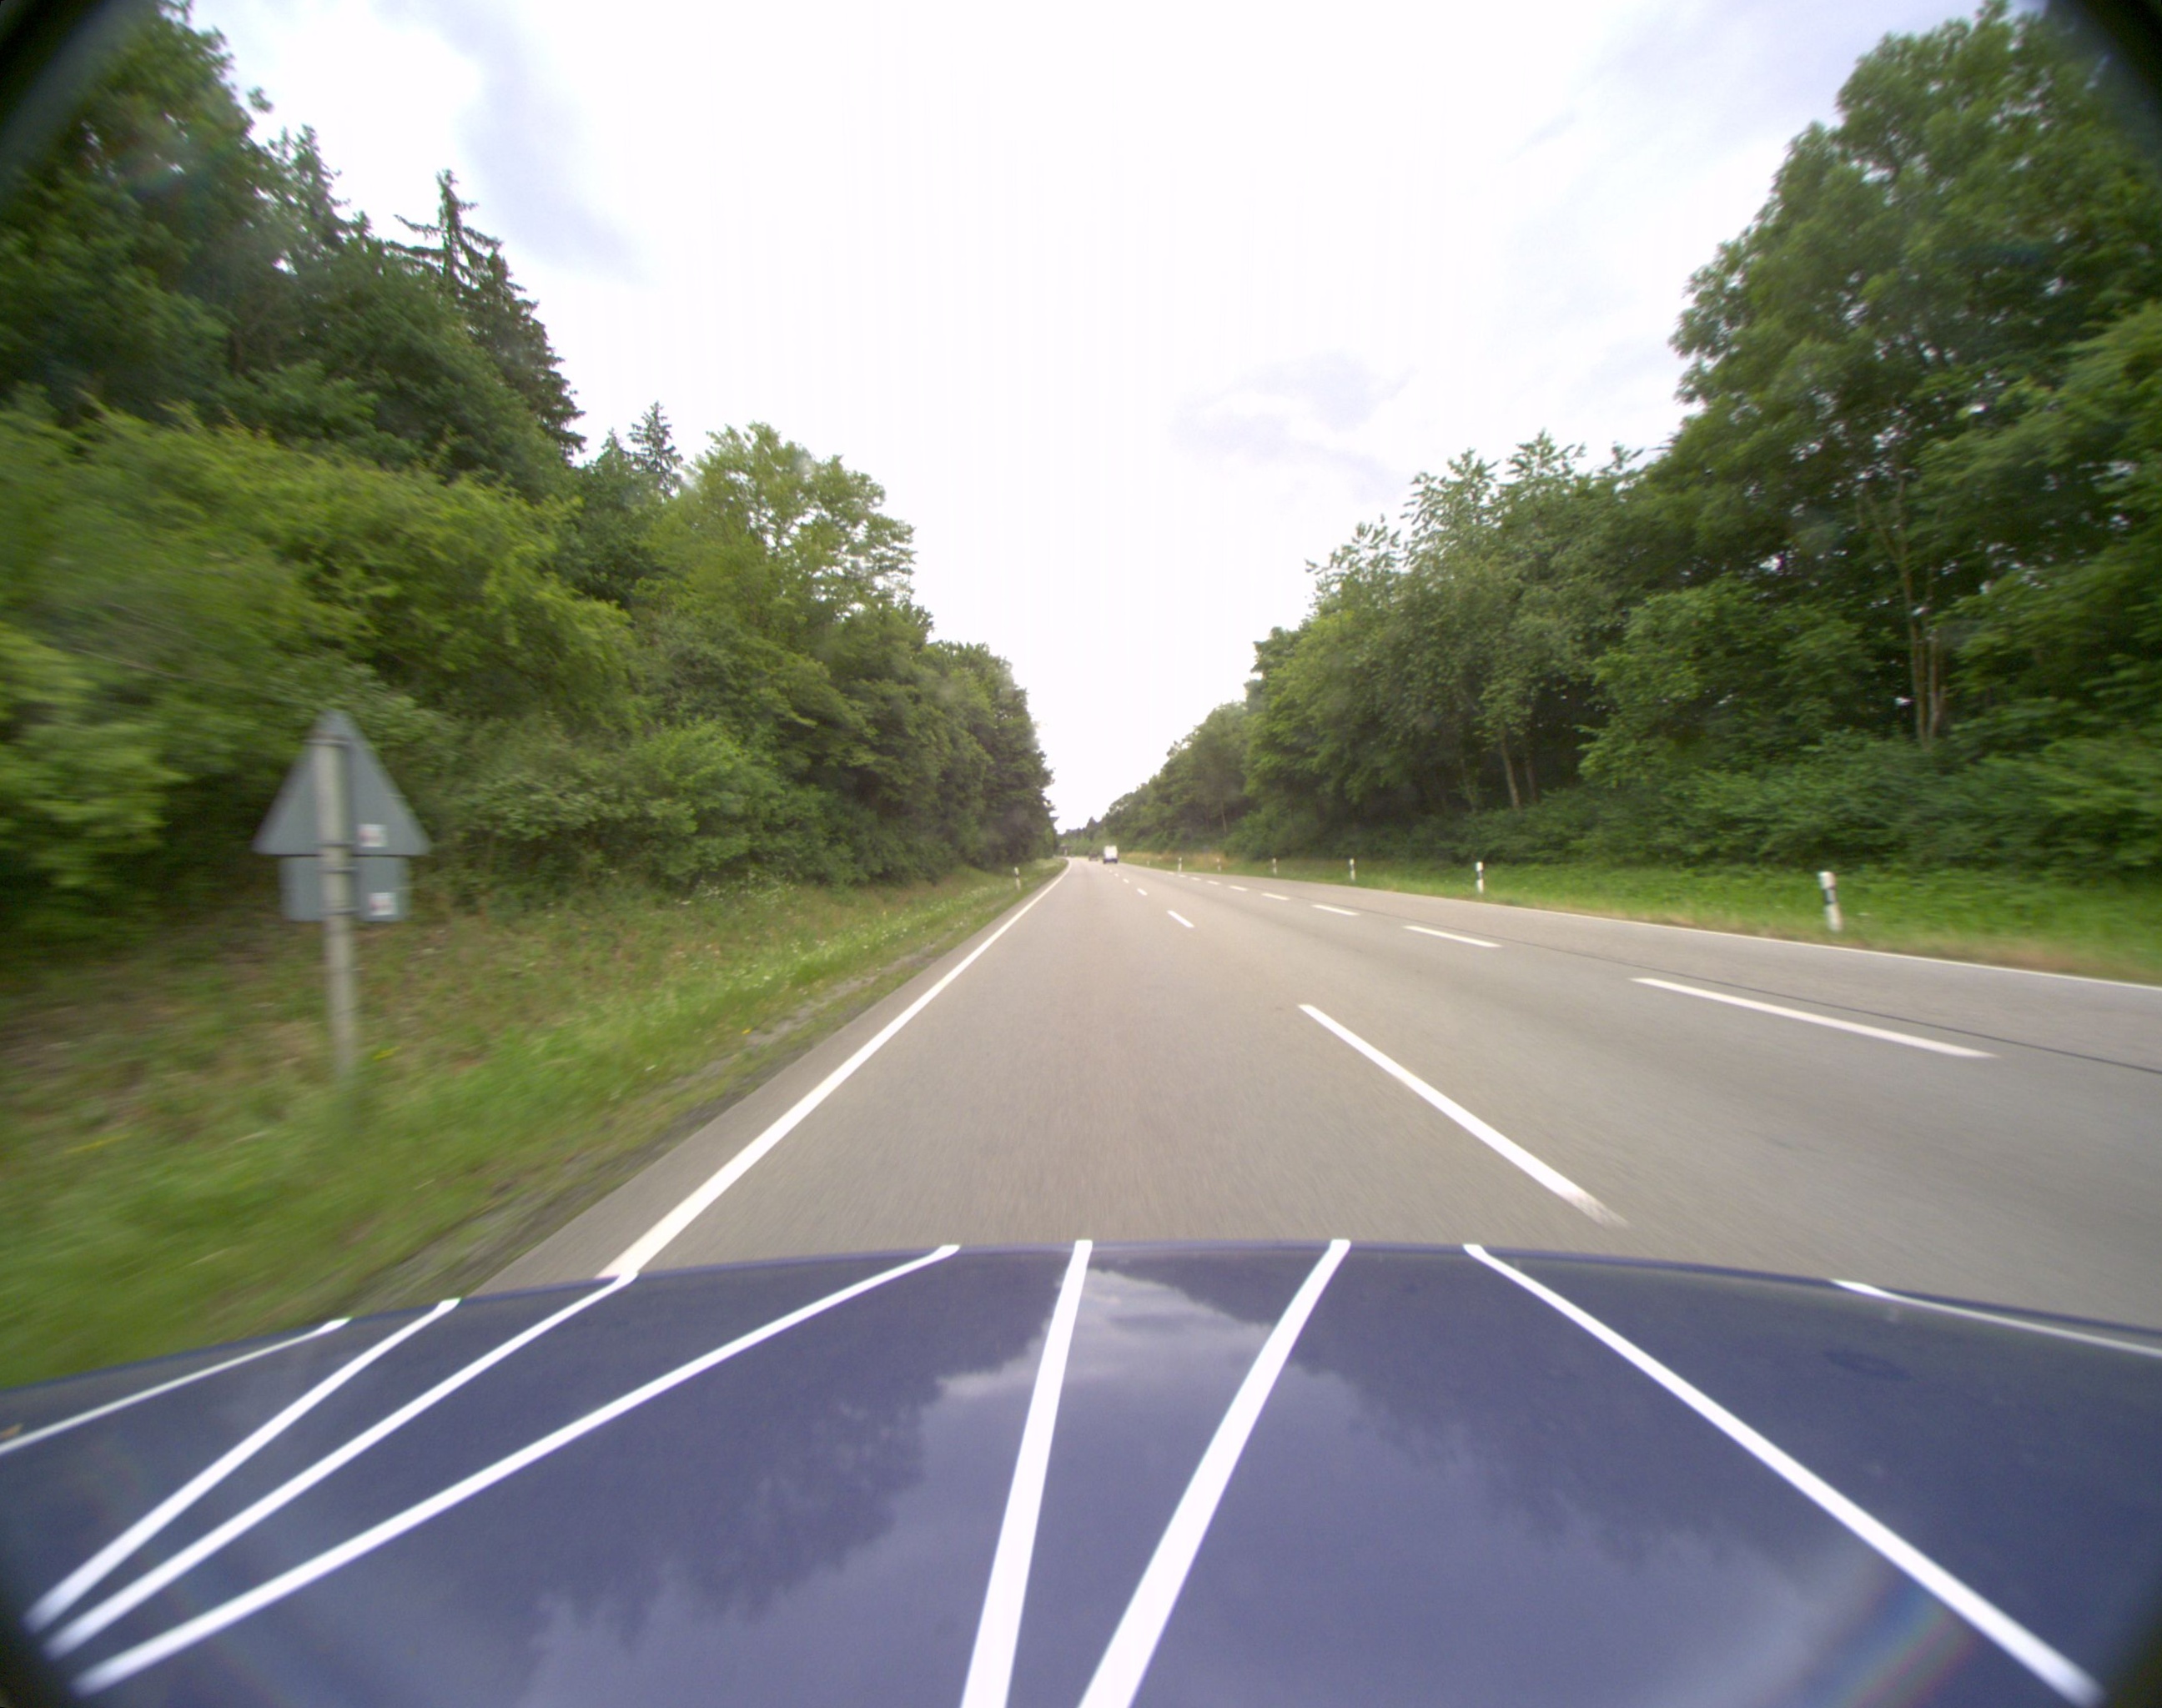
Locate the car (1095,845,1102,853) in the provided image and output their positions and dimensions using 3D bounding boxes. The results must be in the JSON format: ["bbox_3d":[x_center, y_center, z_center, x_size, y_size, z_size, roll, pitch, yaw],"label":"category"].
[{"bbox_3d":[3.800,-1.118,166.137,1.608,1.699,3.476,-2,1,1],"label":"car"}]

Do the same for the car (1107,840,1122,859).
[{"bbox_3d":[5.009,-0.694,114.950,1.998,2.681,5.977,-2,1,1],"label":"car"}]
